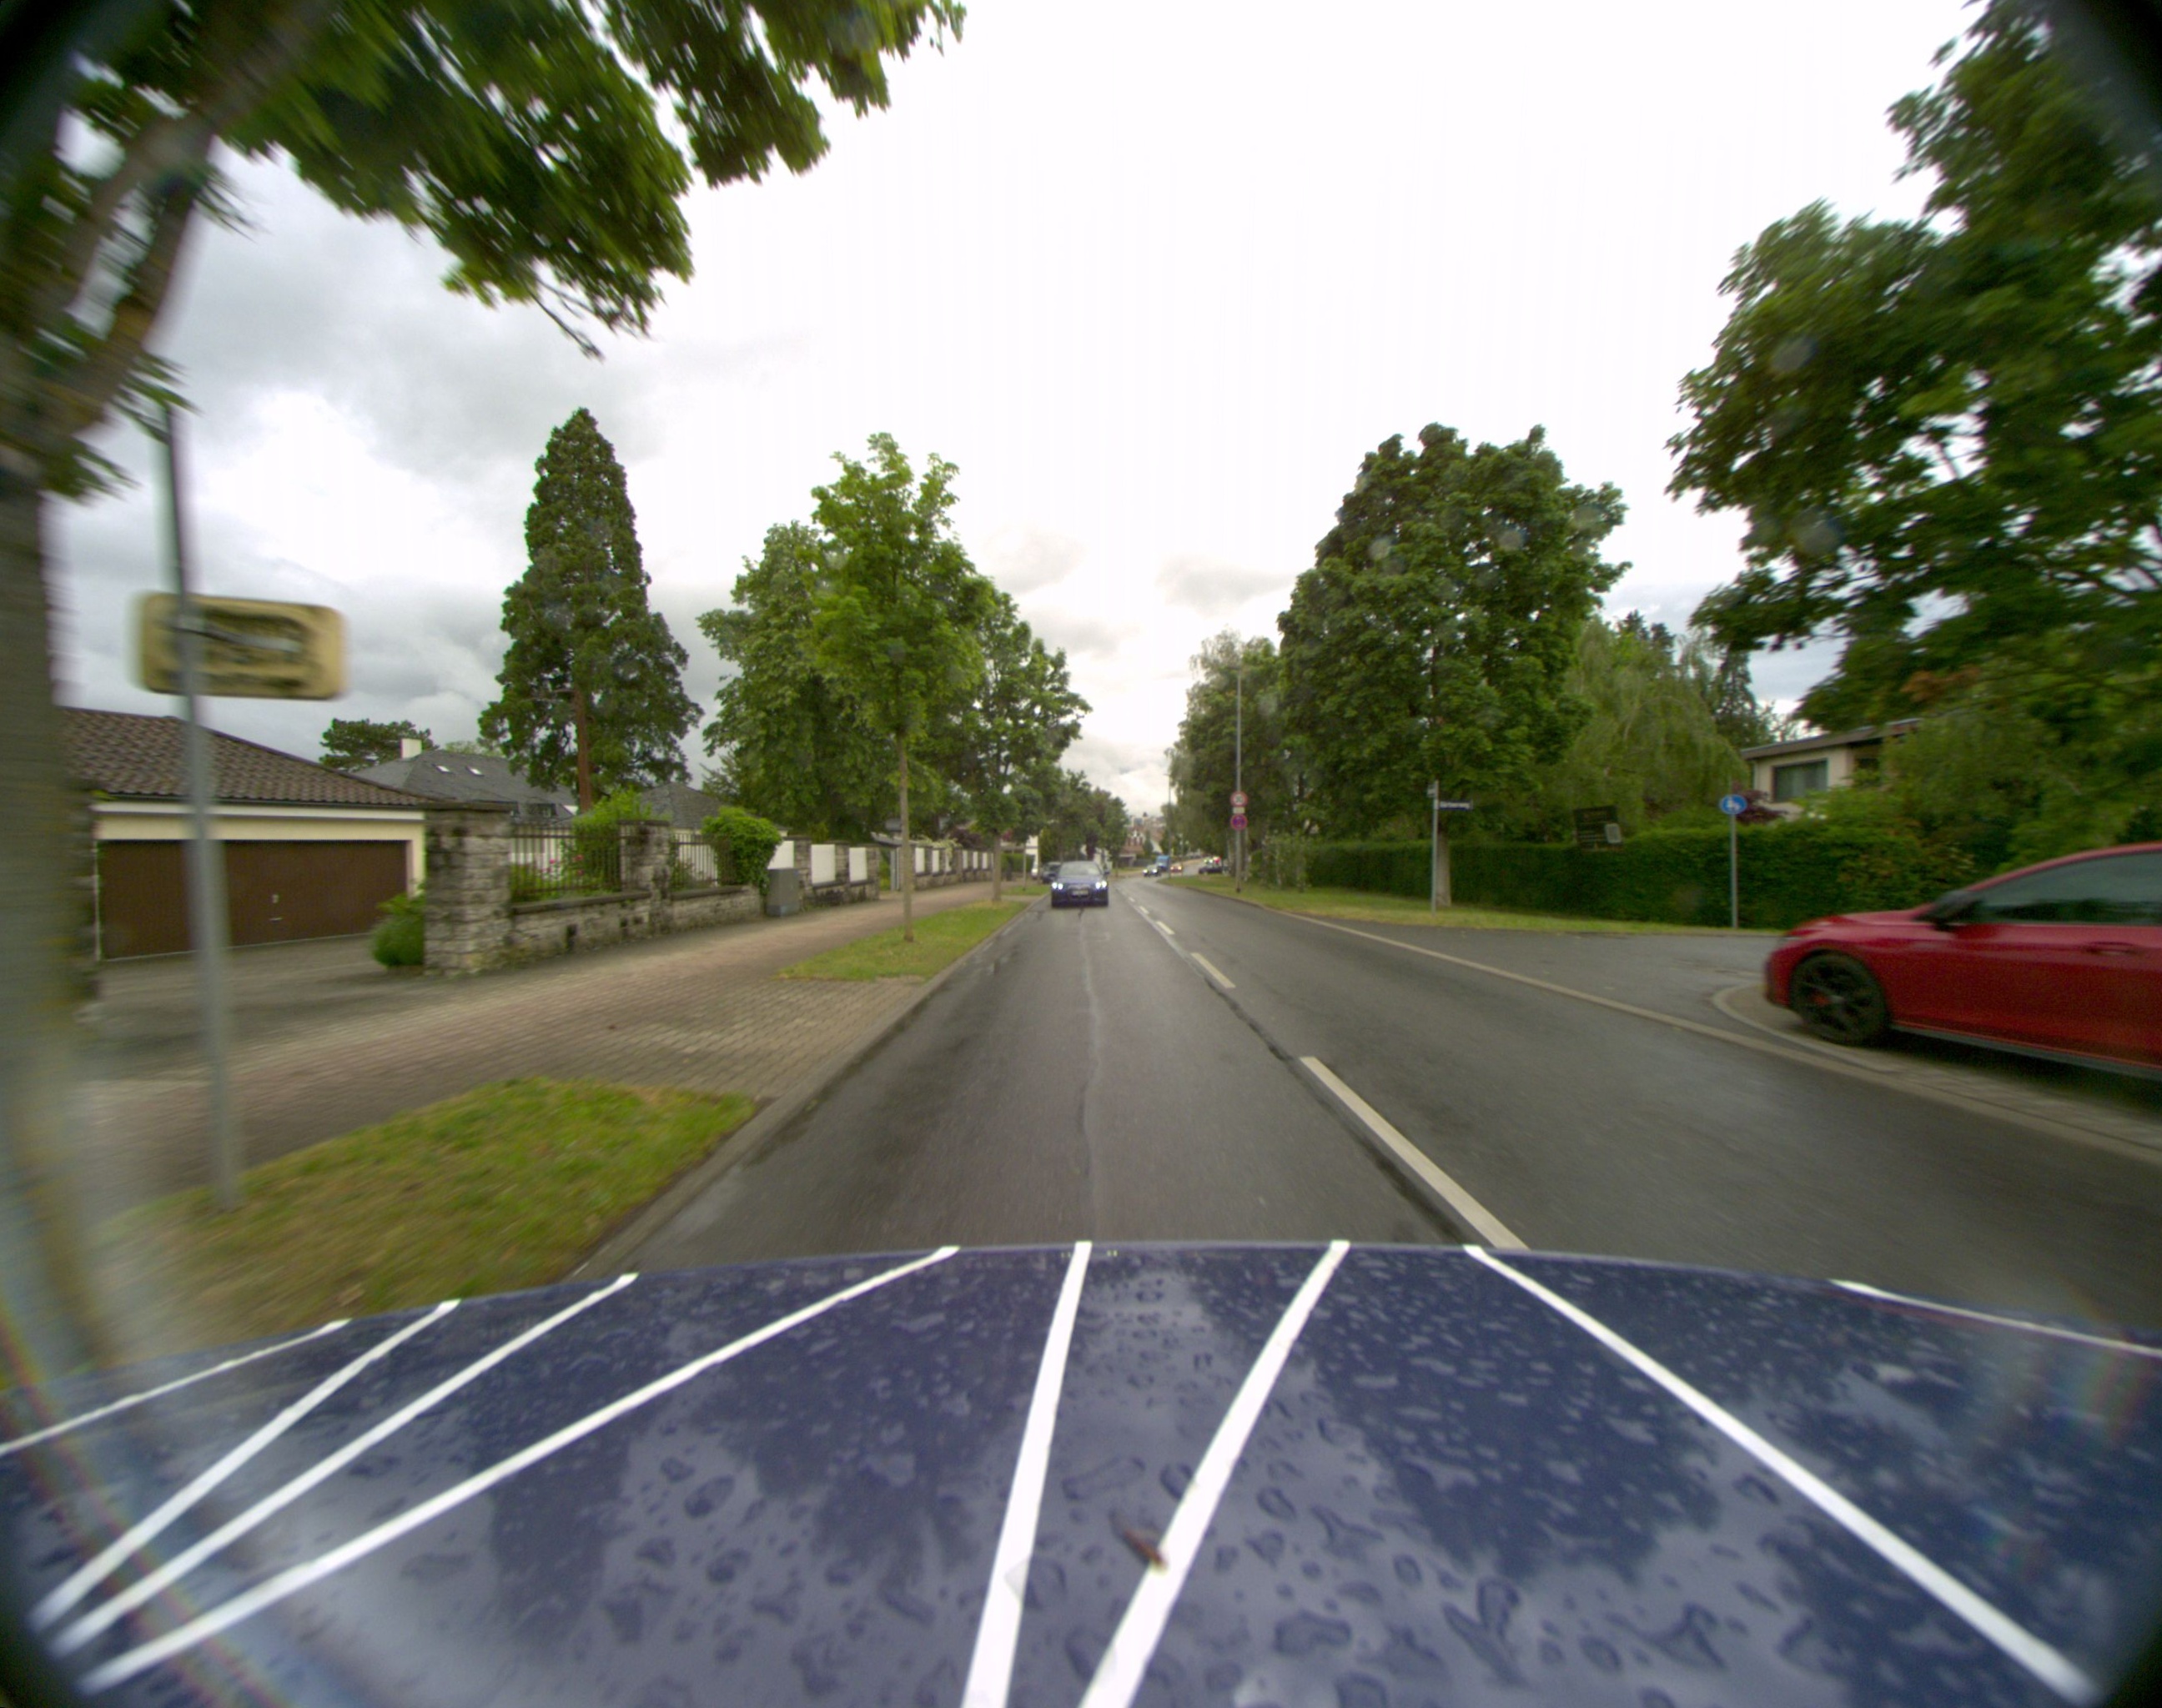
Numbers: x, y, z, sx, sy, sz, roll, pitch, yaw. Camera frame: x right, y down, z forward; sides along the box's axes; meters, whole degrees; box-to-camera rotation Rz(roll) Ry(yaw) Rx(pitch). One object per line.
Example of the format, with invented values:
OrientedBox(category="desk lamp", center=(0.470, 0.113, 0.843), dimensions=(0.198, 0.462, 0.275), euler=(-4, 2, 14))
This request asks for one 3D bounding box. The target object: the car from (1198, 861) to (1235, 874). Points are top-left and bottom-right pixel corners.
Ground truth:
OrientedBox(category="car", center=(17.658, 1.760, 99.107), dimensions=(4.434, 1.409, 1.758), euler=(-4, -1, 16))

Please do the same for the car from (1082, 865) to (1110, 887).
OrientedBox(category="car", center=(1.174, 1.636, 58.311), dimensions=(1.846, 1.531, 4.002), euler=(-2, -1, 5))

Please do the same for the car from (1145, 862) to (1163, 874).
OrientedBox(category="car", center=(10.257, 1.968, 106.410), dimensions=(1.893, 1.531, 4.005), euler=(-2, -1, 15))

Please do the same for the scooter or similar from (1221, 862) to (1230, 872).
OrientedBox(category="scooter or similar", center=(16.799, 1.471, 88.112), dimensions=(0.424, 1.151, 1.493), euler=(-3, -1, 36))

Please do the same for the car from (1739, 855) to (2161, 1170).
OrientedBox(category="car", center=(6.045, 0.758, 3.782), dimensions=(1.848, 1.457, 4.249), euler=(-1, 0, 0))

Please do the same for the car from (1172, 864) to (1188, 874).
OrientedBox(category="car", center=(16.304, 2.531, 125.546), dimensions=(1.893, 1.531, 4.005), euler=(-2, -1, 18))

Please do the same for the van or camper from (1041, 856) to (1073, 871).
OrientedBox(category="van or camper", center=(-2.772, 1.097, 88.920), dimensions=(3.408, 1.546, 1.770), euler=(2, 0, 7))

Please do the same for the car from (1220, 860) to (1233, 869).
OrientedBox(category="car", center=(26.808, 1.891, 139.486), dimensions=(1.773, 1.597, 4.005), euler=(-1, 1, 19))

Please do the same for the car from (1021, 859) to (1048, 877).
OrientedBox(category="car", center=(-4.666, 1.372, 77.427), dimensions=(1.797, 1.747, 4.947), euler=(0, 0, 8))

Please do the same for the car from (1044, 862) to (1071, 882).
OrientedBox(category="car", center=(-1.723, 1.340, 56.782), dimensions=(1.645, 1.369, 3.830), euler=(1, 0, 4))

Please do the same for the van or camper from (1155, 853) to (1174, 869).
OrientedBox(category="van or camper", center=(14.321, 1.213, 130.291), dimensions=(2.146, 2.594, 5.788), euler=(1, 1, 17))

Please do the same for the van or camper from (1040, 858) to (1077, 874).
OrientedBox(category="van or camper", center=(-2.722, 1.442, 91.732), dimensions=(3.992, 1.668, 2.125), euler=(3, 1, 12))

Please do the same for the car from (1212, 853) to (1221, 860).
OrientedBox(category="car", center=(29.020, 0.552, 162.526), dimensions=(1.758, 1.432, 4.161), euler=(-2, -1, 10))

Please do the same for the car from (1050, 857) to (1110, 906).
OrientedBox(category="car", center=(0.039, 0.929, 27.078), dimensions=(1.895, 1.531, 4.001), euler=(-2, -1, 2))
